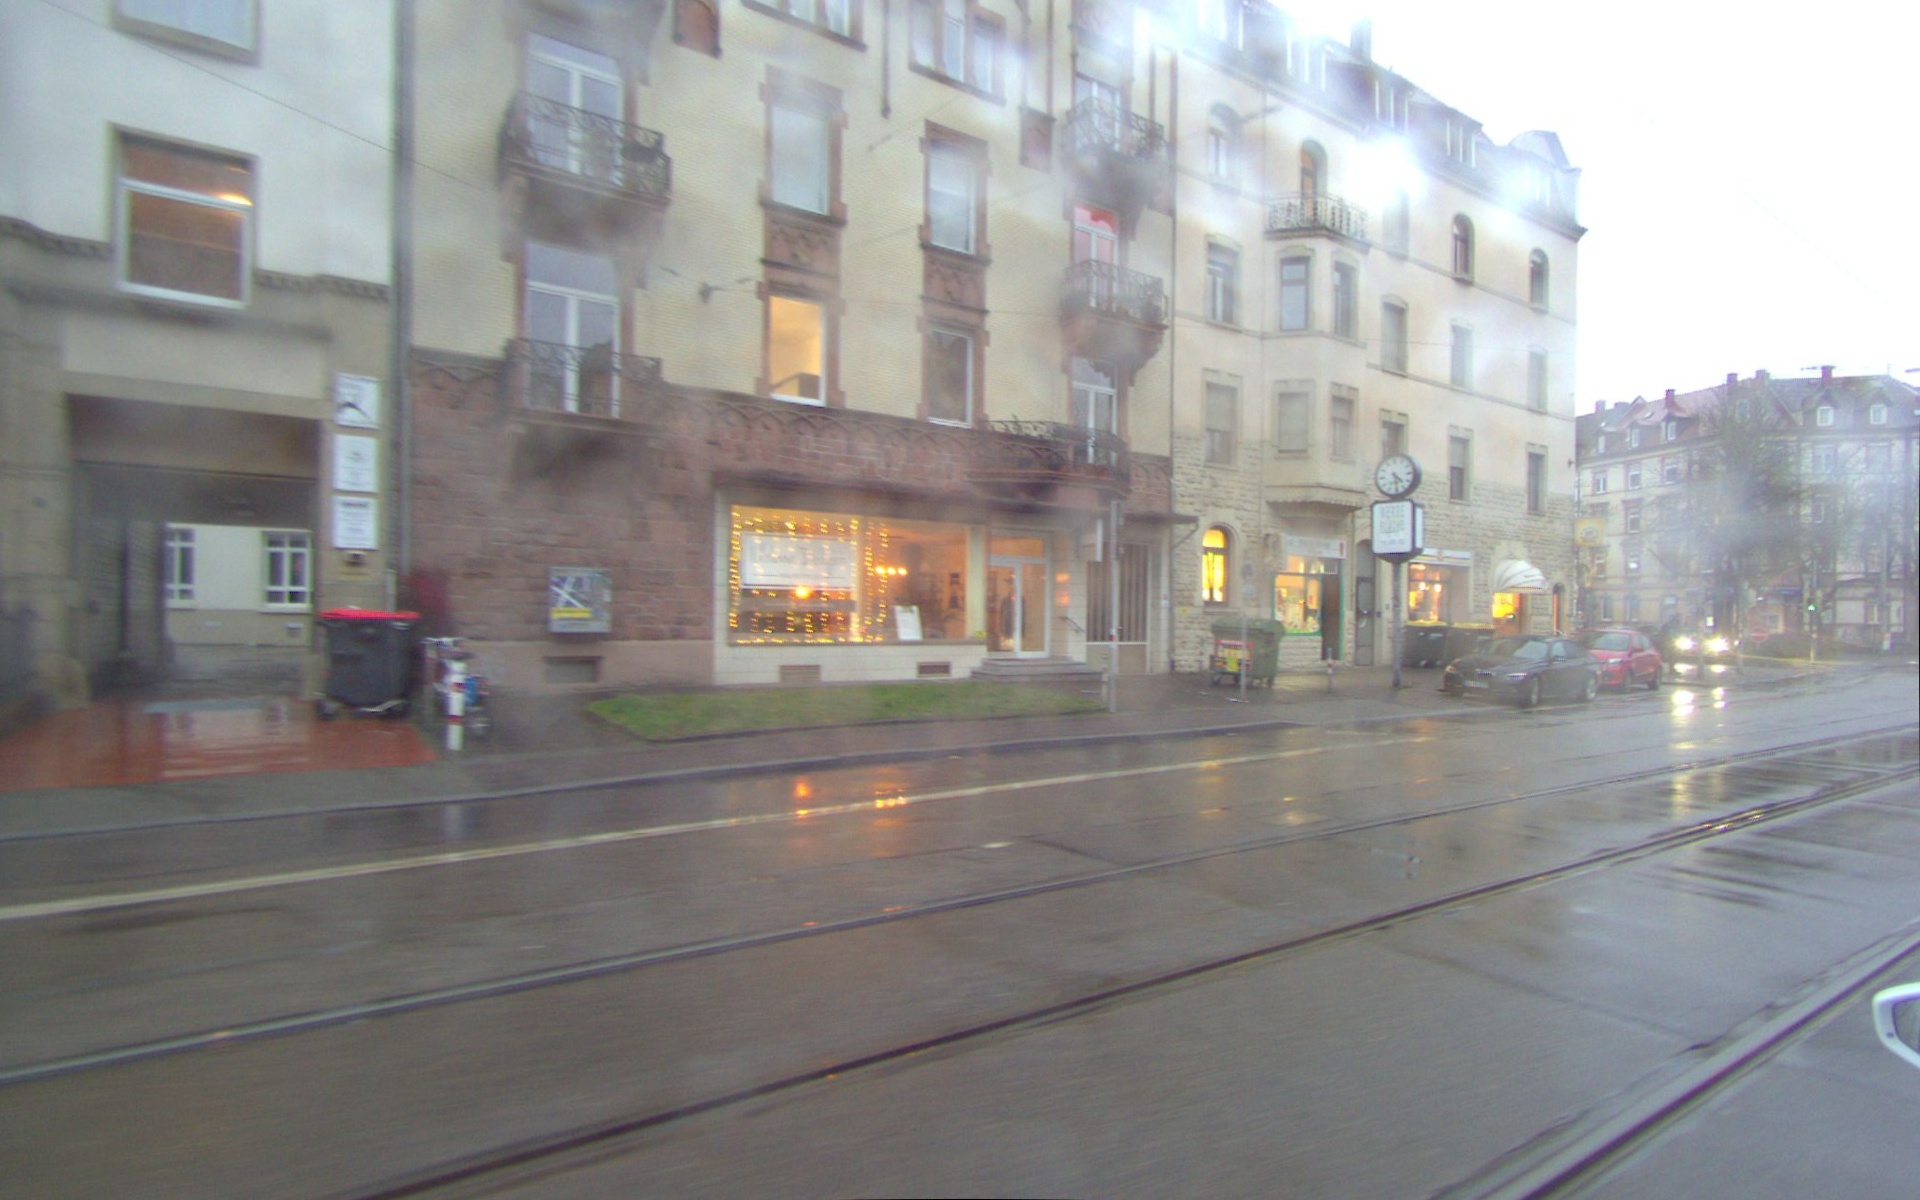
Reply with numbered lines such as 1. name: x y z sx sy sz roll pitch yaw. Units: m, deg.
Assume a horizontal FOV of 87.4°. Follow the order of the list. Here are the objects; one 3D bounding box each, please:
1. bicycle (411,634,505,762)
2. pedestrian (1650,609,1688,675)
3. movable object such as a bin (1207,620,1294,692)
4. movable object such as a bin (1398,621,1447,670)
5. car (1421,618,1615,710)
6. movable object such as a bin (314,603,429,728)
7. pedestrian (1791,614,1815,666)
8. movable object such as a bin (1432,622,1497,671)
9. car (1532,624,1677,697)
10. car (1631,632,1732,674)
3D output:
1. bicycle: -5.567 1.006 11.060 0.687 1.120 2.335 1 1 -32
2. pedestrian: 22.283 1.319 31.575 0.635 2.040 0.758 1 0 2
3. movable object such as a bin: 6.151 1.165 21.287 1.237 1.439 1.260 1 -1 -34
4. movable object such as a bin: 13.541 1.322 29.410 0.996 1.396 0.893 1 -1 -34
5. car: 12.420 1.361 22.267 4.588 1.667 1.971 2 3 -37
6. movable object such as a bin: -7.266 0.772 12.395 1.155 1.398 1.096 1 2 -33
7. pedestrian: 33.874 1.593 40.353 0.695 2.040 0.658 0 -1 37
8. movable object such as a bin: 14.961 1.354 29.797 1.239 1.385 1.286 1 -1 -34
9. car: 16.859 1.504 26.219 3.998 1.573 2.020 1 3 -40
10. car: 31.970 2.328 44.657 1.981 1.695 4.003 1 -1 8
